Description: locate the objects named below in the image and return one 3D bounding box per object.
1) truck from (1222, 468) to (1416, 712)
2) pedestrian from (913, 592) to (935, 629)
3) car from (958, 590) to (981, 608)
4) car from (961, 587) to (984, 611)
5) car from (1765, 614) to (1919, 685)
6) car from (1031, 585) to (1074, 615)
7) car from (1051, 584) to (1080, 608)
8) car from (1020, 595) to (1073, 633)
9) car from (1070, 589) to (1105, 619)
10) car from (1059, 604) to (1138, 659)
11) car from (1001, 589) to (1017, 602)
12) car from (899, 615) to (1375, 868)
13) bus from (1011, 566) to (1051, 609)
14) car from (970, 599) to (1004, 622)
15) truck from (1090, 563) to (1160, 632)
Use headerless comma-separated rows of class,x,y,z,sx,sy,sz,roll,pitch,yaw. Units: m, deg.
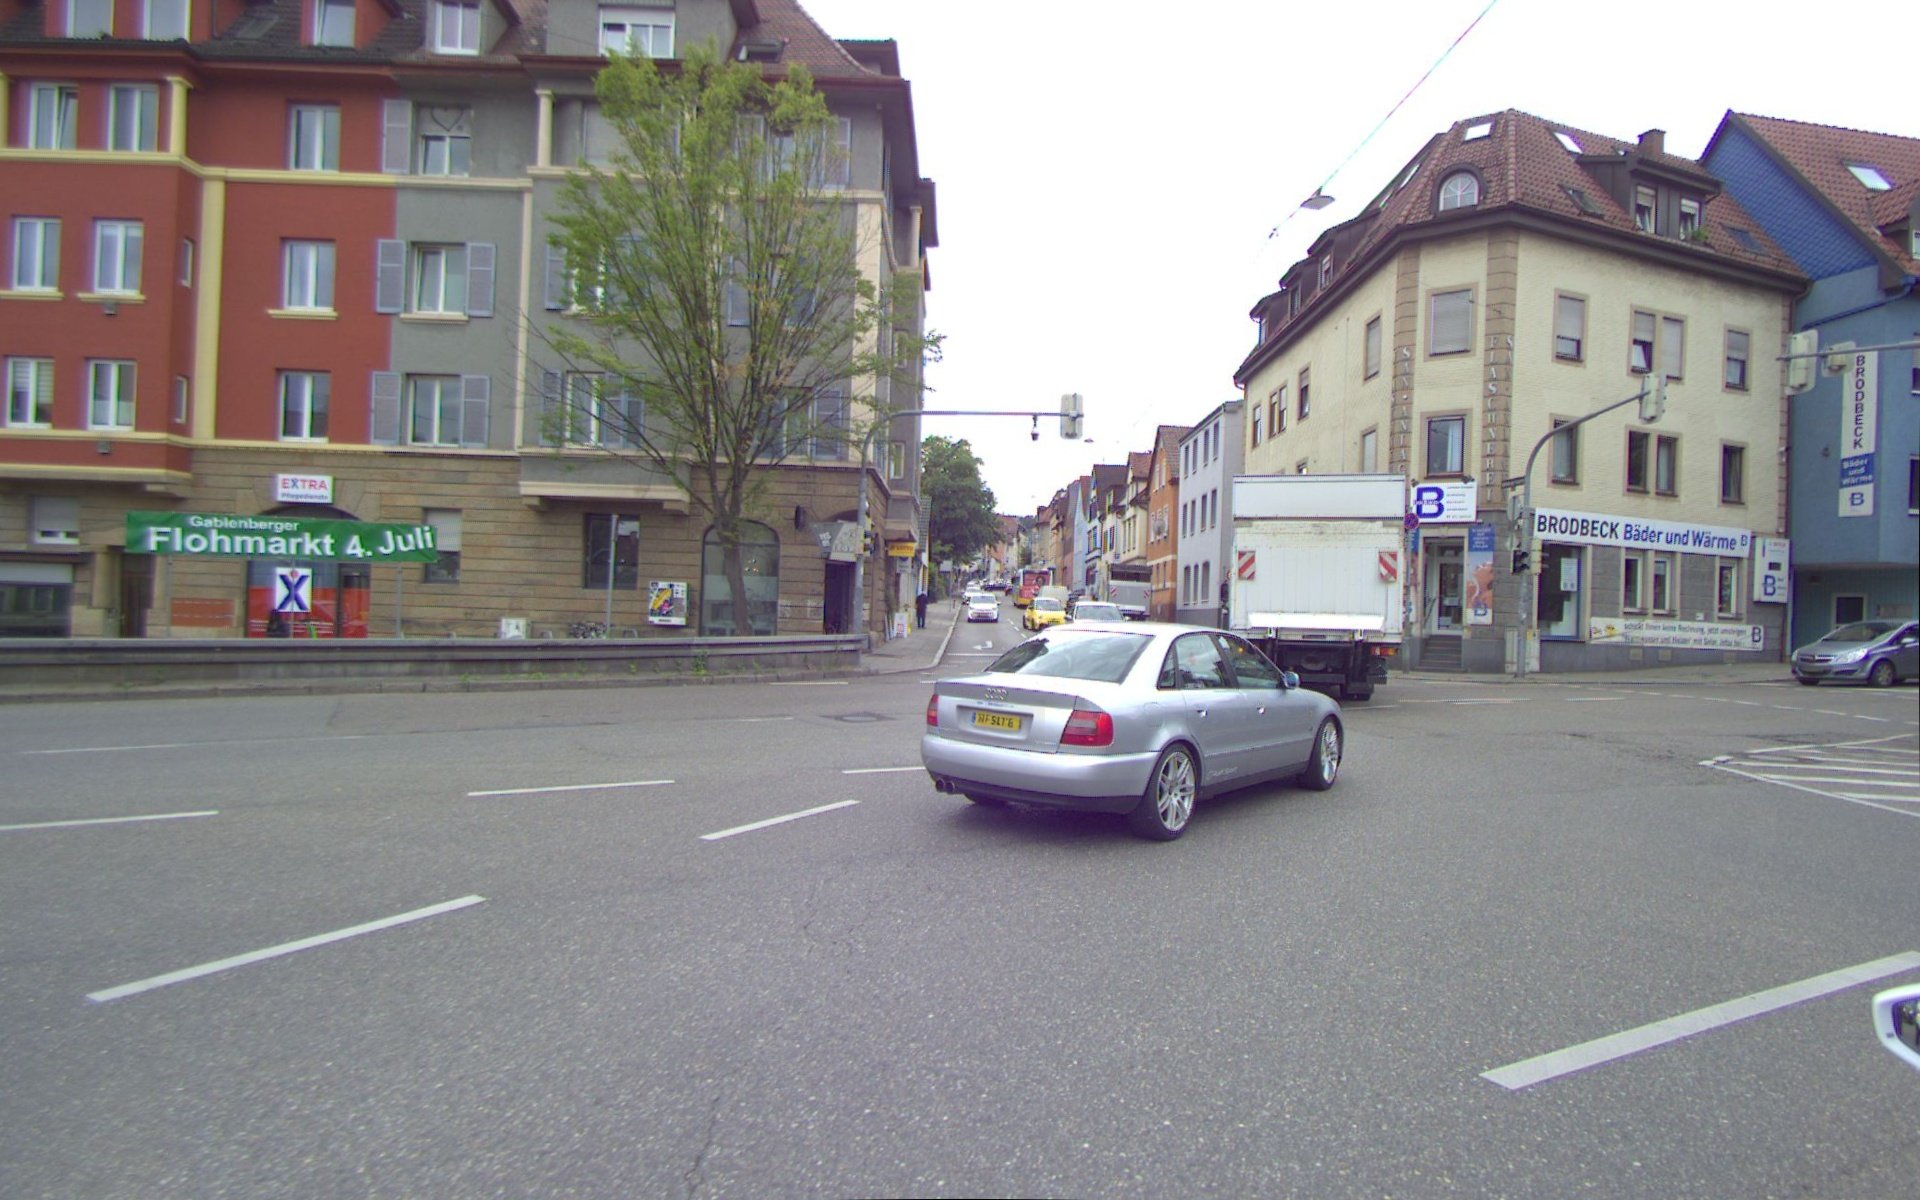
truck,6.419,-0.152,19.174,2.679,3.591,8.425,1,0,14
pedestrian,-1.510,0.421,42.357,0.812,1.549,0.849,1,1,-8
car,0.817,-0.115,88.299,1.811,1.556,3.999,1,0,-1
car,1.068,-0.116,88.209,1.960,2.041,4.000,1,1,0
car,20.505,1.095,22.348,4.142,1.496,1.720,1,-1,-9
car,5.859,-0.032,64.201,2.025,1.823,4.333,1,0,-4
car,8.585,-0.309,81.986,1.960,1.878,4.000,1,0,1
car,3.921,0.607,46.118,1.961,1.623,3.998,1,1,-2
car,8.985,0.232,71.185,1.960,2.041,4.000,1,1,0
car,4.054,0.886,29.915,1.843,1.489,3.976,2,0,1
car,6.412,-0.575,130.779,1.811,1.556,3.999,1,0,-1
car,1.583,0.858,7.708,1.611,1.383,4.105,1,-1,43
bus,5.606,-0.972,80.481,2.755,3.286,7.663,1,0,1
car,1.401,0.531,53.620,1.727,1.142,3.671,1,0,1
truck,8.683,-0.152,53.521,2.646,3.399,5.437,2,1,-1
